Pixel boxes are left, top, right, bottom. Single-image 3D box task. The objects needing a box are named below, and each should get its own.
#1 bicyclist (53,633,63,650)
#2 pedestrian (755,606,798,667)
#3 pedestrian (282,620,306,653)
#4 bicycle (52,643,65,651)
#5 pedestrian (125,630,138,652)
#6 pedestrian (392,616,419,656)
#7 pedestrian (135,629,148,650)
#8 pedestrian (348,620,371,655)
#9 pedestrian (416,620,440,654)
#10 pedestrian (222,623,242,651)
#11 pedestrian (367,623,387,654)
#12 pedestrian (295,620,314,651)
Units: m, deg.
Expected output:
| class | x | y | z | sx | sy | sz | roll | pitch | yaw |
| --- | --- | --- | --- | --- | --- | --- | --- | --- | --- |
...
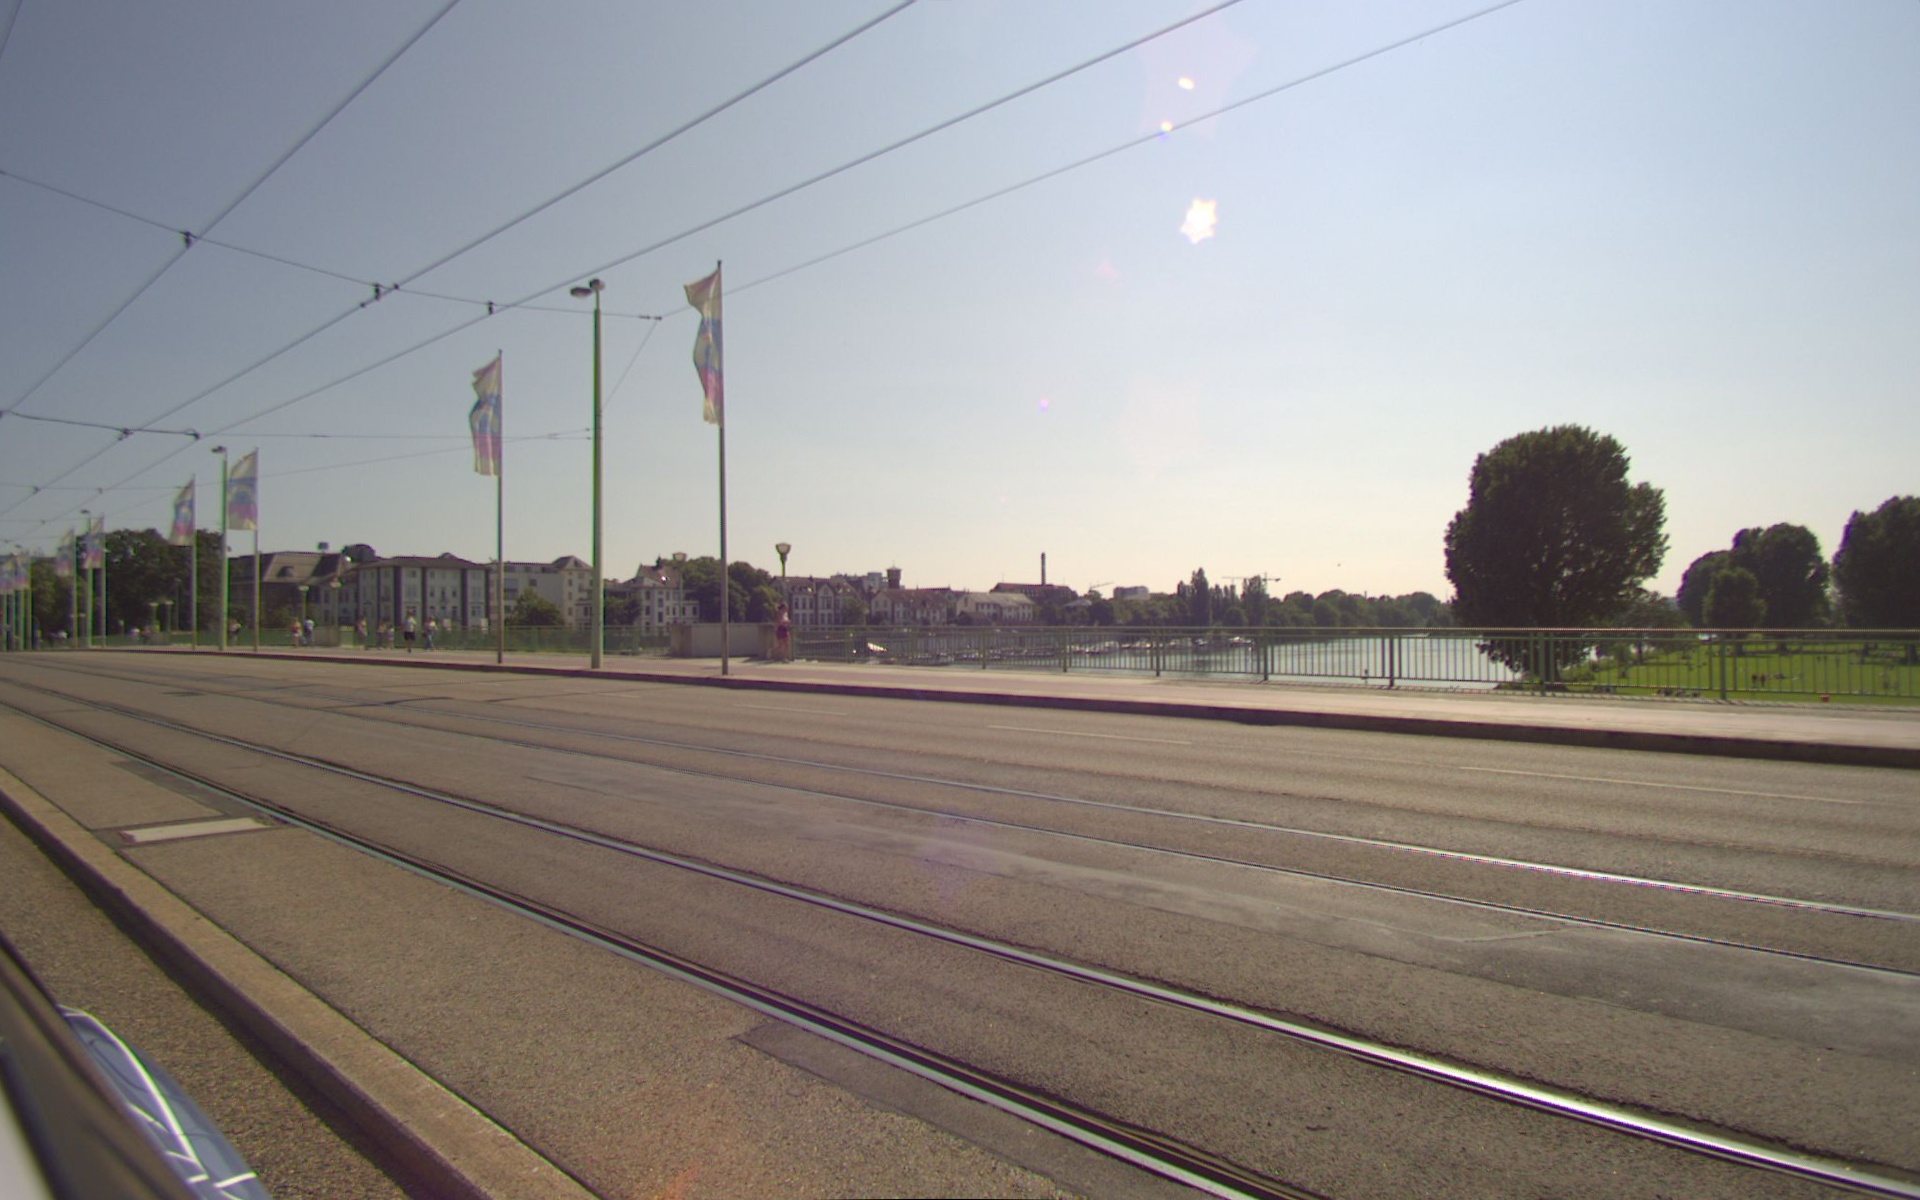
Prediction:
| class | x | y | z | sx | sy | sz | roll | pitch | yaw |
| --- | --- | --- | --- | --- | --- | --- | --- | --- | --- |
| bicyclist | -86.259 | 3.960 | 96.810 | 0.621 | 1.663 | 0.657 | -2 | -2 | 42 |
| pedestrian | -5.265 | 1.033 | 29.011 | 1.022 | 1.703 | 0.677 | -2 | 0 | 41 |
| pedestrian | -35.736 | 1.942 | 54.294 | 1.022 | 1.712 | 0.777 | -2 | 1 | 41 |
| bicycle | -86.253 | 4.522 | 96.803 | 2.171 | 0.721 | 0.658 | -2 | -1 | 41 |
| pedestrian | -68.076 | 3.365 | 83.153 | 1.022 | 1.712 | 0.584 | -2 | 3 | 41 |
| pedestrian | -24.015 | 1.555 | 43.806 | 1.022 | 1.712 | 0.663 | -2 | 0 | 41 |
| pedestrian | -67.636 | 3.265 | 83.656 | 0.904 | 1.712 | 0.584 | -2 | 3 | 41 |
| pedestrian | -28.717 | 1.781 | 48.394 | 1.022 | 1.611 | 0.620 | -2 | 0 | 41 |
| pedestrian | -23.364 | 1.610 | 44.431 | 1.022 | 1.425 | 0.584 | -2 | 0 | 41 |
| pedestrian | -44.997 | 2.283 | 62.552 | 1.022 | 1.712 | 0.777 | -2 | 1 | 41 |
| pedestrian | -28.150 | 1.852 | 48.873 | 0.788 | 1.448 | 0.540 | -2 | 0 | 41 |
| pedestrian | -36.158 | 1.948 | 55.844 | 1.022 | 1.712 | 0.584 | -2 | 0 | 41 |
